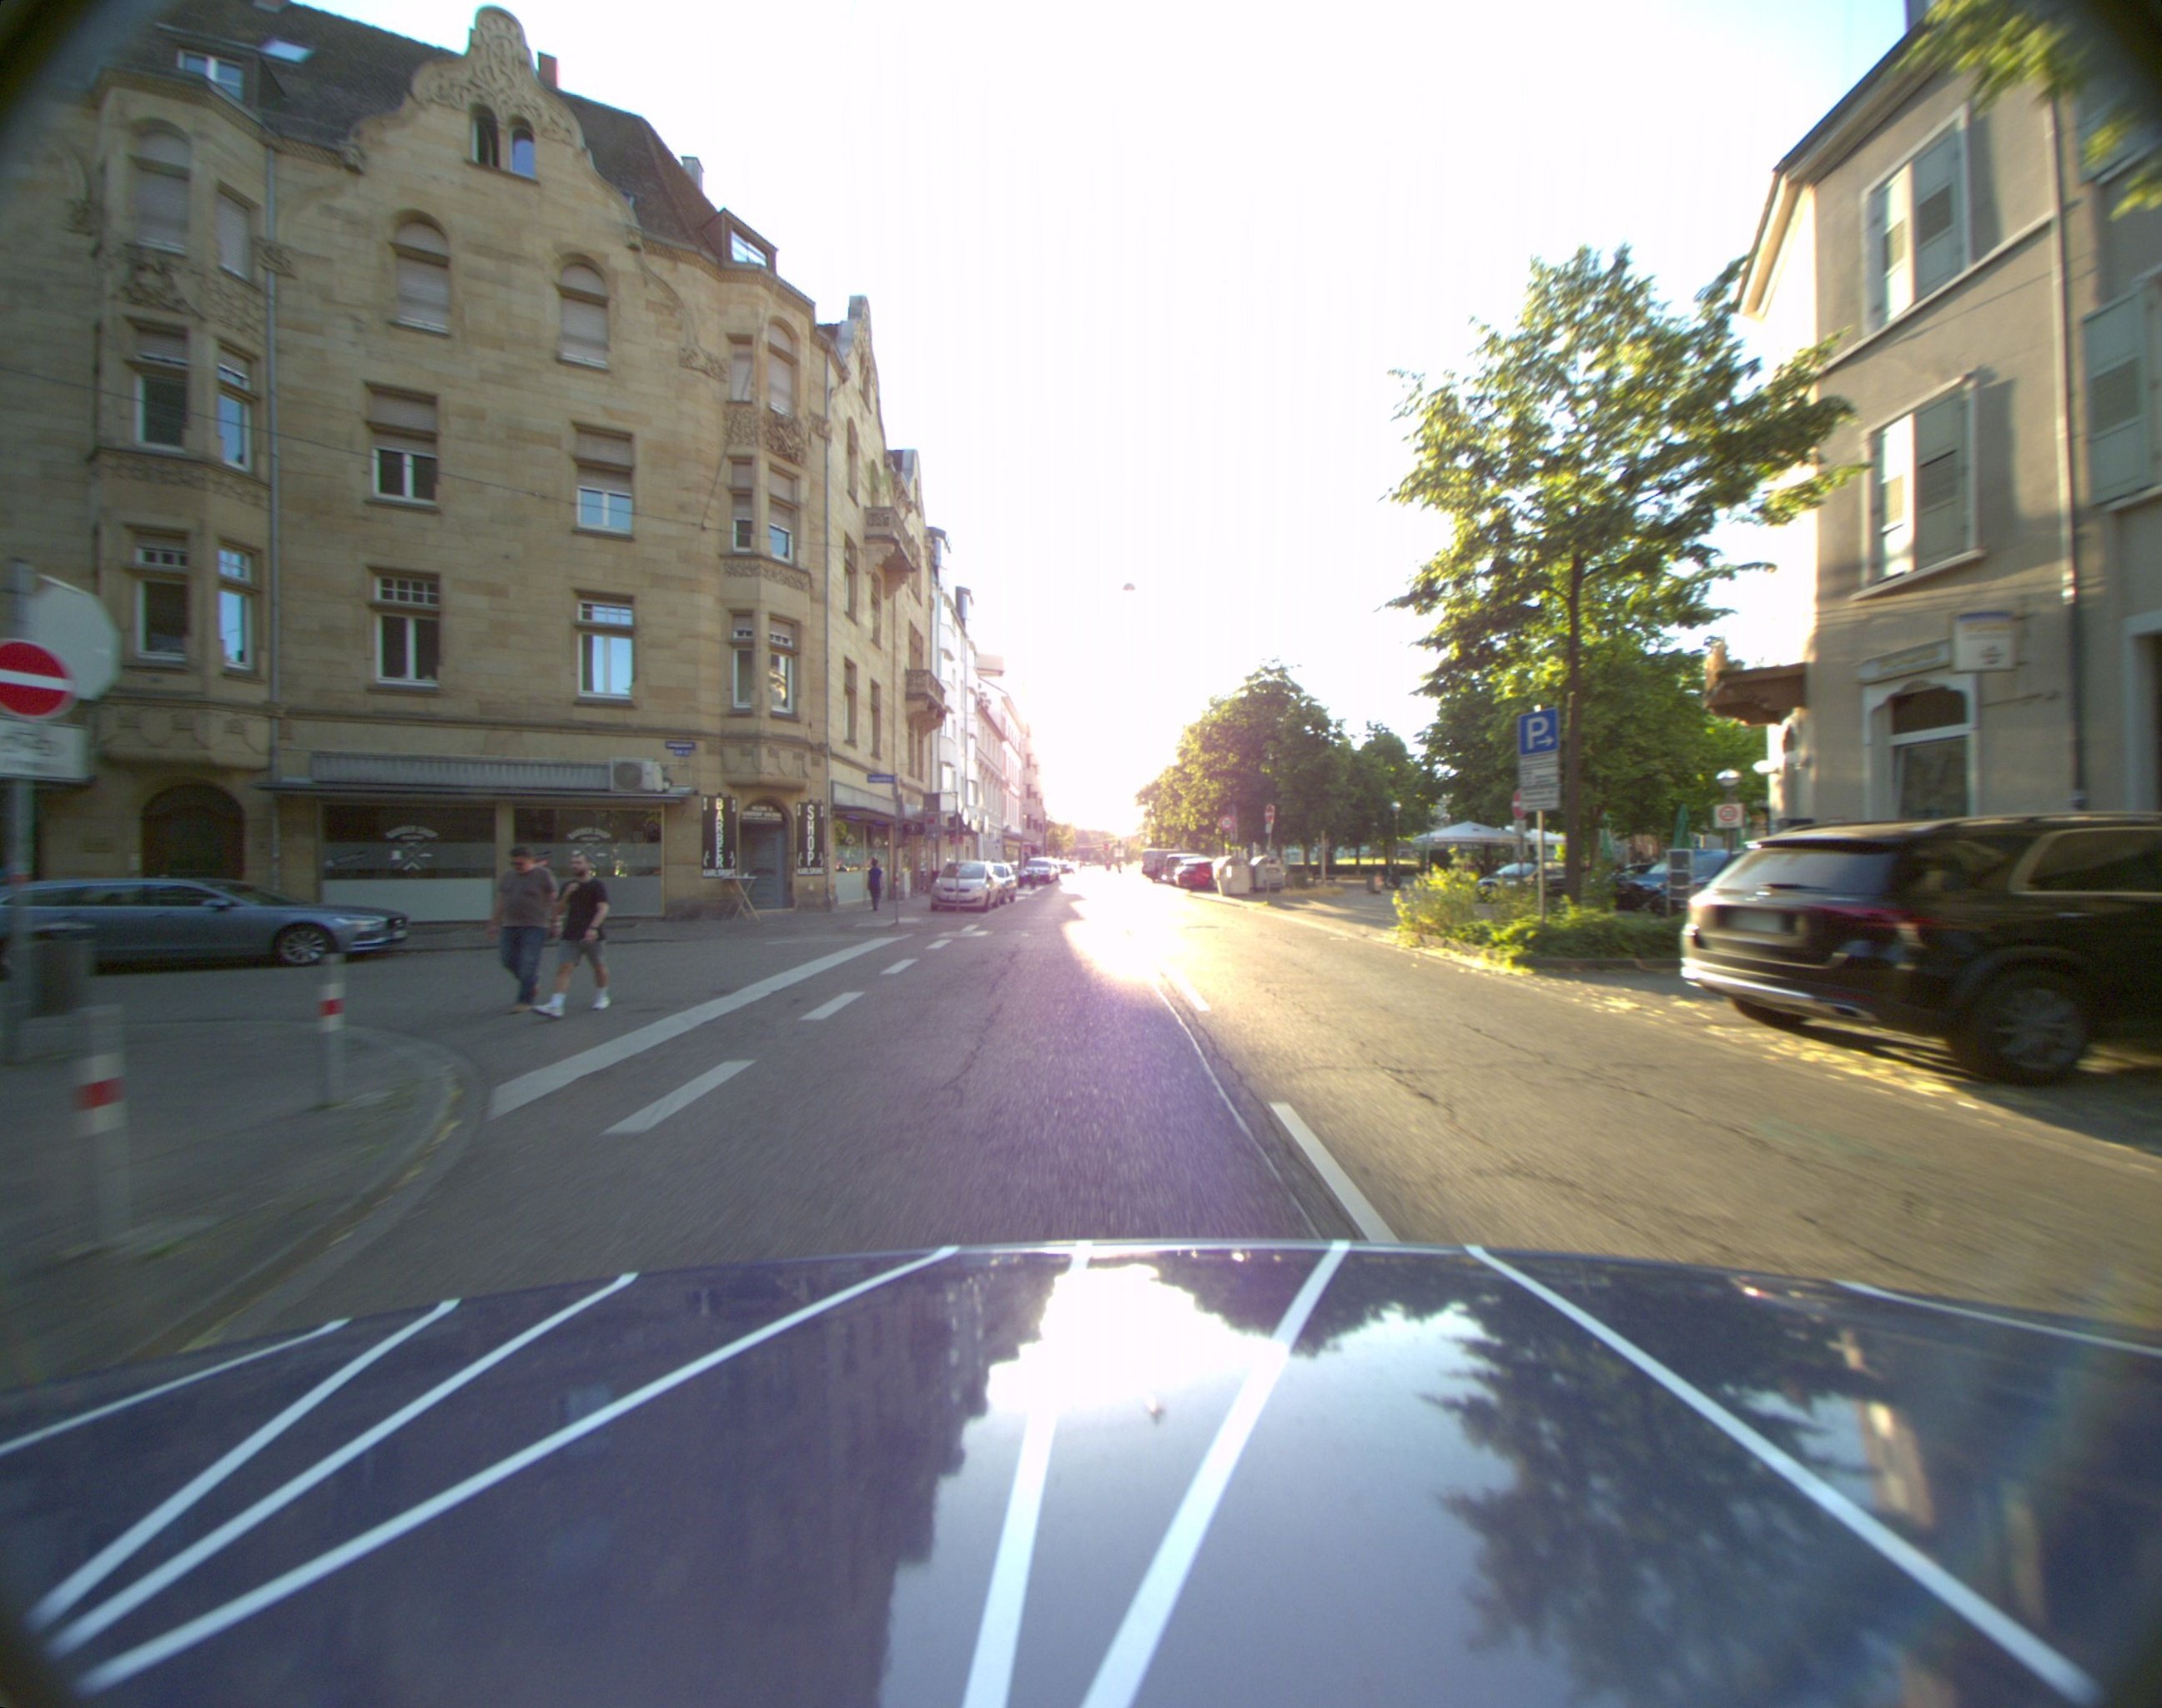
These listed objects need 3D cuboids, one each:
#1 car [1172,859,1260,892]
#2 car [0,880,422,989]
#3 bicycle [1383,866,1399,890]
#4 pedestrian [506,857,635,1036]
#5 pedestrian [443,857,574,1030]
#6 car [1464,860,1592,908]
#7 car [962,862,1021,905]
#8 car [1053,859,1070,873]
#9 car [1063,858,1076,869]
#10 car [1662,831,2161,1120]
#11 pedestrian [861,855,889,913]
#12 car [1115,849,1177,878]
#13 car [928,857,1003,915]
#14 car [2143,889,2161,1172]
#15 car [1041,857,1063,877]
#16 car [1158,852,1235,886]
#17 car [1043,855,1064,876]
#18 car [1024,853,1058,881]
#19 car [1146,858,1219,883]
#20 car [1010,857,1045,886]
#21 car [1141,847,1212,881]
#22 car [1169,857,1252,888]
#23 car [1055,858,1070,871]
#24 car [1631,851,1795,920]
[{"bbox_3d":[6.963,1.051,39.035,4.579,1.548,1.809,-1,0,-37],"label":"car"},{"bbox_3d":[-14.030,1.192,12.235,4.772,1.409,1.976,0,-1,-22],"label":"car"},{"bbox_3d":[13.474,1.038,33.033,0.581,1.026,1.858,-2,-2,22],"label":"bicycle"},{"bbox_3d":[-5.233,0.908,7.845,0.756,1.748,0.812,0,0,1],"label":"pedestrian"},{"bbox_3d":[-6.096,0.915,8.134,0.756,1.748,0.812,0,0,1],"label":"pedestrian"},{"bbox_3d":[15.306,0.975,26.012,4.005,1.499,1.810,-1,0,-25],"label":"car"},{"bbox_3d":[-3.401,1.091,29.400,1.580,1.450,3.588,3,0,4],"label":"car"},{"bbox_3d":[-2.284,1.362,89.756,1.804,1.570,4.403,2,0,1],"label":"car"},{"bbox_3d":[-1.674,1.445,114.163,1.804,1.570,4.403,2,0,1],"label":"car"},{"bbox_3d":[7.365,0.726,5.683,4.567,1.772,1.946,-1,1,0],"label":"car"},{"bbox_3d":[-6.066,0.871,22.377,0.599,1.653,0.603,1,1,5],"label":"pedestrian"},{"bbox_3d":[5.465,0.765,63.720,4.782,2.344,2.153,-1,0,-27],"label":"car"},{"bbox_3d":[-3.643,0.970,24.578,1.758,1.638,3.794,3,0,1],"label":"car"},{"bbox_3d":[7.449,0.866,3.014,3.825,1.453,1.821,-1,0,2],"label":"car"},{"bbox_3d":[-2.570,1.111,67.887,1.758,1.638,3.794,3,0,1],"label":"car"},{"bbox_3d":[7.011,0.879,45.792,4.579,1.922,1.896,-1,0,-37],"label":"car"},{"bbox_3d":[-2.654,1.088,74.846,1.804,1.909,4.403,2,0,1],"label":"car"},{"bbox_3d":[-2.864,0.939,55.446,1.867,1.900,4.256,3,0,4],"label":"car"},{"bbox_3d":[7.067,1.129,52.816,4.577,1.573,2.131,-1,0,-28],"label":"car"},{"bbox_3d":[-3.266,1.040,47.206,1.758,1.638,3.794,3,0,1],"label":"car"},{"bbox_3d":[7.031,0.714,55.990,4.782,2.344,2.153,-1,0,-27],"label":"car"},{"bbox_3d":[7.271,1.009,42.518,4.579,1.623,1.896,-1,0,-37],"label":"car"},{"bbox_3d":[-2.399,1.375,100.379,1.804,1.570,4.403,2,0,1],"label":"car"},{"bbox_3d":[17.569,0.802,21.123,4.005,1.718,1.996,-1,0,-25],"label":"car"}]
